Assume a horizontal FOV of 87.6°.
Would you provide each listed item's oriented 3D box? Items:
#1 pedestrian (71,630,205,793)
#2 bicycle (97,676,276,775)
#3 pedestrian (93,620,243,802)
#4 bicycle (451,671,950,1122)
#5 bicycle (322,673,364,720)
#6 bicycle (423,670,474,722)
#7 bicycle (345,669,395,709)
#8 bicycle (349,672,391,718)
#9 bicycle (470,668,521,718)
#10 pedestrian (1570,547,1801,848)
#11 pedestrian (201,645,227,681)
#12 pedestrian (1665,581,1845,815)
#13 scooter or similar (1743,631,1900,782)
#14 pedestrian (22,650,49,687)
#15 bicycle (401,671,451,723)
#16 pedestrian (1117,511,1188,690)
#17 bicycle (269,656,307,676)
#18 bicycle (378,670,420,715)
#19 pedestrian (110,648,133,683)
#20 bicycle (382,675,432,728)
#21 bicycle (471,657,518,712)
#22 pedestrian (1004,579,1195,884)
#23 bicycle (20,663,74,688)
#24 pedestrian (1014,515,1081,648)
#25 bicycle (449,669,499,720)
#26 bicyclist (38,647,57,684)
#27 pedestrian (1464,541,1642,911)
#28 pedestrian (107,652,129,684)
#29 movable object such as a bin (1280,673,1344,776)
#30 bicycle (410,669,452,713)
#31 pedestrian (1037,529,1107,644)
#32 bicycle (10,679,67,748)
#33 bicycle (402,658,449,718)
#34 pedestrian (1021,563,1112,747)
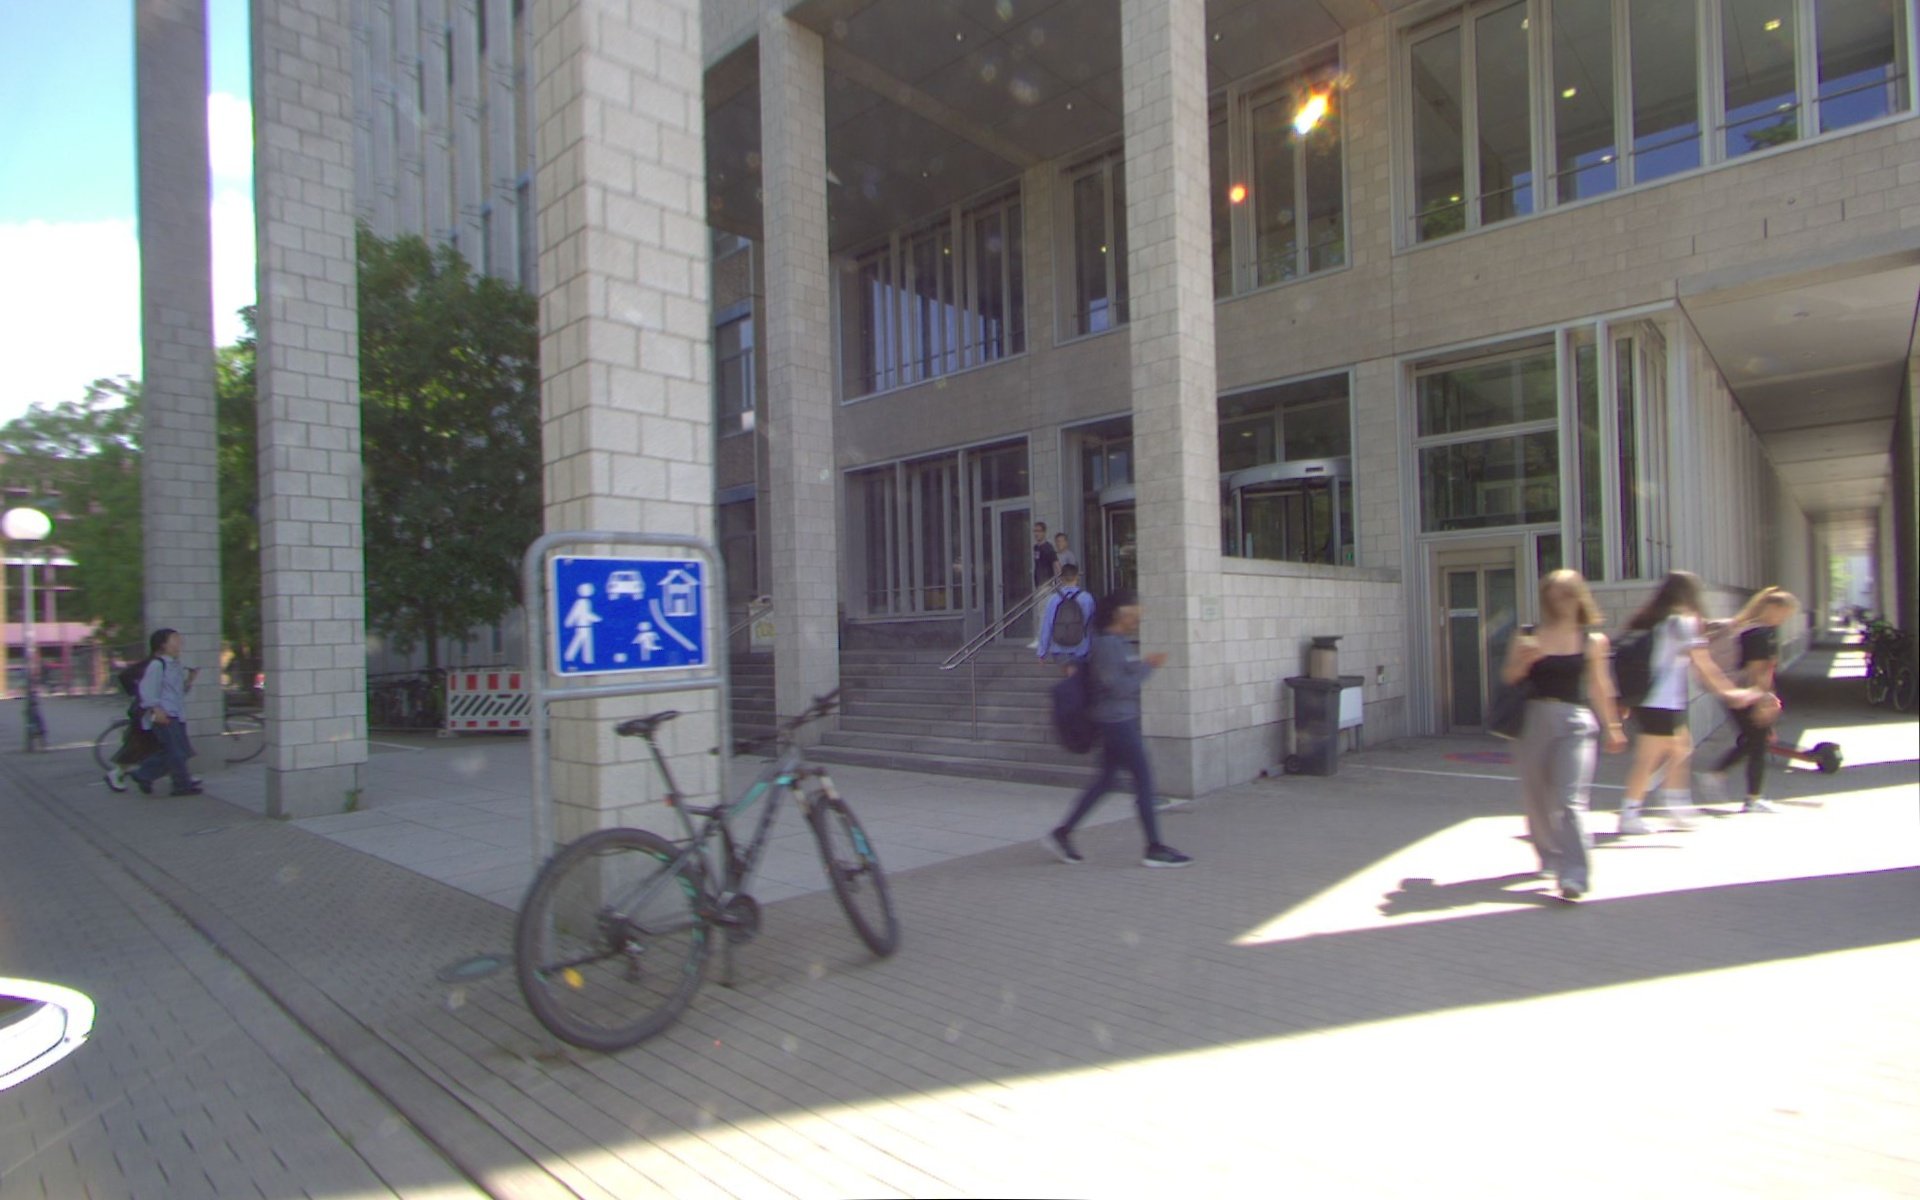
[{"bbox_3d":[-8.733,1.154,10.667,0.726,1.638,0.808,-2,-1,1],"label":"pedestrian"},{"bbox_3d":[-9.741,1.552,12.680,0.444,1.053,1.732,-1,0,38],"label":"bicycle"},{"bbox_3d":[-7.892,1.071,10.020,0.882,1.692,0.675,-4,0,-10],"label":"pedestrian"},{"bbox_3d":[-0.862,0.941,3.879,0.597,1.180,1.873,-1,1,37],"label":"bicycle"},{"bbox_3d":[-12.744,1.975,20.661,1.431,0.917,0.289,-3,-1,40],"label":"bicycle"},{"bbox_3d":[-9.629,1.787,18.840,1.431,0.917,0.289,-3,-1,40],"label":"bicycle"},{"bbox_3d":[-14.048,2.111,23.812,1.781,0.917,0.290,-2,-1,35],"label":"bicycle"},{"bbox_3d":[-12.455,1.983,21.119,1.431,0.917,0.289,-3,-1,40],"label":"bicycle"},{"bbox_3d":[-9.044,1.800,19.476,1.431,0.917,0.289,-3,-1,40],"label":"bicycle"},{"bbox_3d":[4.481,0.582,6.254,0.843,1.746,0.780,-1,-1,3],"label":"pedestrian"},{"bbox_3d":[-37.545,3.174,50.388,0.677,1.749,0.898,-5,-3,38],"label":"pedestrian"},{"bbox_3d":[5.770,0.693,7.303,0.811,1.620,0.590,-1,0,2],"label":"pedestrian"},{"bbox_3d":[7.718,0.908,9.036,0.352,1.239,1.428,-1,-1,9],"label":"scooter or similar"},{"bbox_3d":[-45.065,3.343,48.812,0.894,1.749,0.680,-1,-3,-37],"label":"pedestrian"},{"bbox_3d":[-9.961,1.793,18.672,1.431,0.917,0.289,-3,-1,40],"label":"bicycle"},{"bbox_3d":[2.060,0.014,10.668,0.580,1.826,0.683,-1,0,24],"label":"pedestrian"},{"bbox_3d":[-39.742,3.891,59.213,0.468,1.124,1.800,-2,-3,37],"label":"bicycle"},{"bbox_3d":[-12.122,1.988,21.624,1.431,0.917,0.289,-3,-1,40],"label":"bicycle"},{"bbox_3d":[-45.083,3.517,53.837,0.677,1.867,0.822,-3,-3,40],"label":"pedestrian"},{"bbox_3d":[-10.191,1.844,18.429,1.431,0.917,0.289,-3,-1,40],"label":"bicycle"},{"bbox_3d":[-9.763,1.765,20.995,1.431,1.113,0.289,-2,-1,40],"label":"bicycle"},{"bbox_3d":[0.823,0.730,5.789,0.866,1.593,0.819,-3,-3,21],"label":"pedestrian"},{"bbox_3d":[-43.684,3.599,47.943,1.887,1.097,0.584,0,-2,-41],"label":"bicycle"},{"bbox_3d":[1.237,-0.246,14.236,0.865,1.826,0.703,-1,0,1],"label":"pedestrian"},{"bbox_3d":[-9.310,1.790,19.169,1.431,0.917,0.289,-3,-1,40],"label":"bicycle"},{"bbox_3d":[-43.703,3.141,47.961,0.658,1.738,0.584,0,-2,-40],"label":"bicyclist"},{"bbox_3d":[3.031,0.580,5.095,0.693,1.677,0.877,-1,0,35],"label":"pedestrian"},{"bbox_3d":[-44.688,3.609,53.128,0.677,1.640,0.777,-3,-3,40],"label":"pedestrian"},{"bbox_3d":[3.397,1.186,9.655,0.543,0.950,0.372,-2,-1,23],"label":"movable object such as a bin"},{"bbox_3d":[-11.704,1.998,22.151,1.431,0.917,0.289,-3,-1,40],"label":"bicycle"},{"bbox_3d":[1.678,-0.195,15.068,0.866,1.676,0.702,-1,0,-8],"label":"pedestrian"},{"bbox_3d":[-15.505,1.876,16.839,1.839,1.053,0.534,-3,-1,42],"label":"bicycle"},{"bbox_3d":[-10.640,1.737,19.930,1.431,1.143,0.289,-2,-1,40],"label":"bicycle"},{"bbox_3d":[1.078,0.533,10.010,0.634,1.746,0.863,-1,0,25],"label":"pedestrian"}]
